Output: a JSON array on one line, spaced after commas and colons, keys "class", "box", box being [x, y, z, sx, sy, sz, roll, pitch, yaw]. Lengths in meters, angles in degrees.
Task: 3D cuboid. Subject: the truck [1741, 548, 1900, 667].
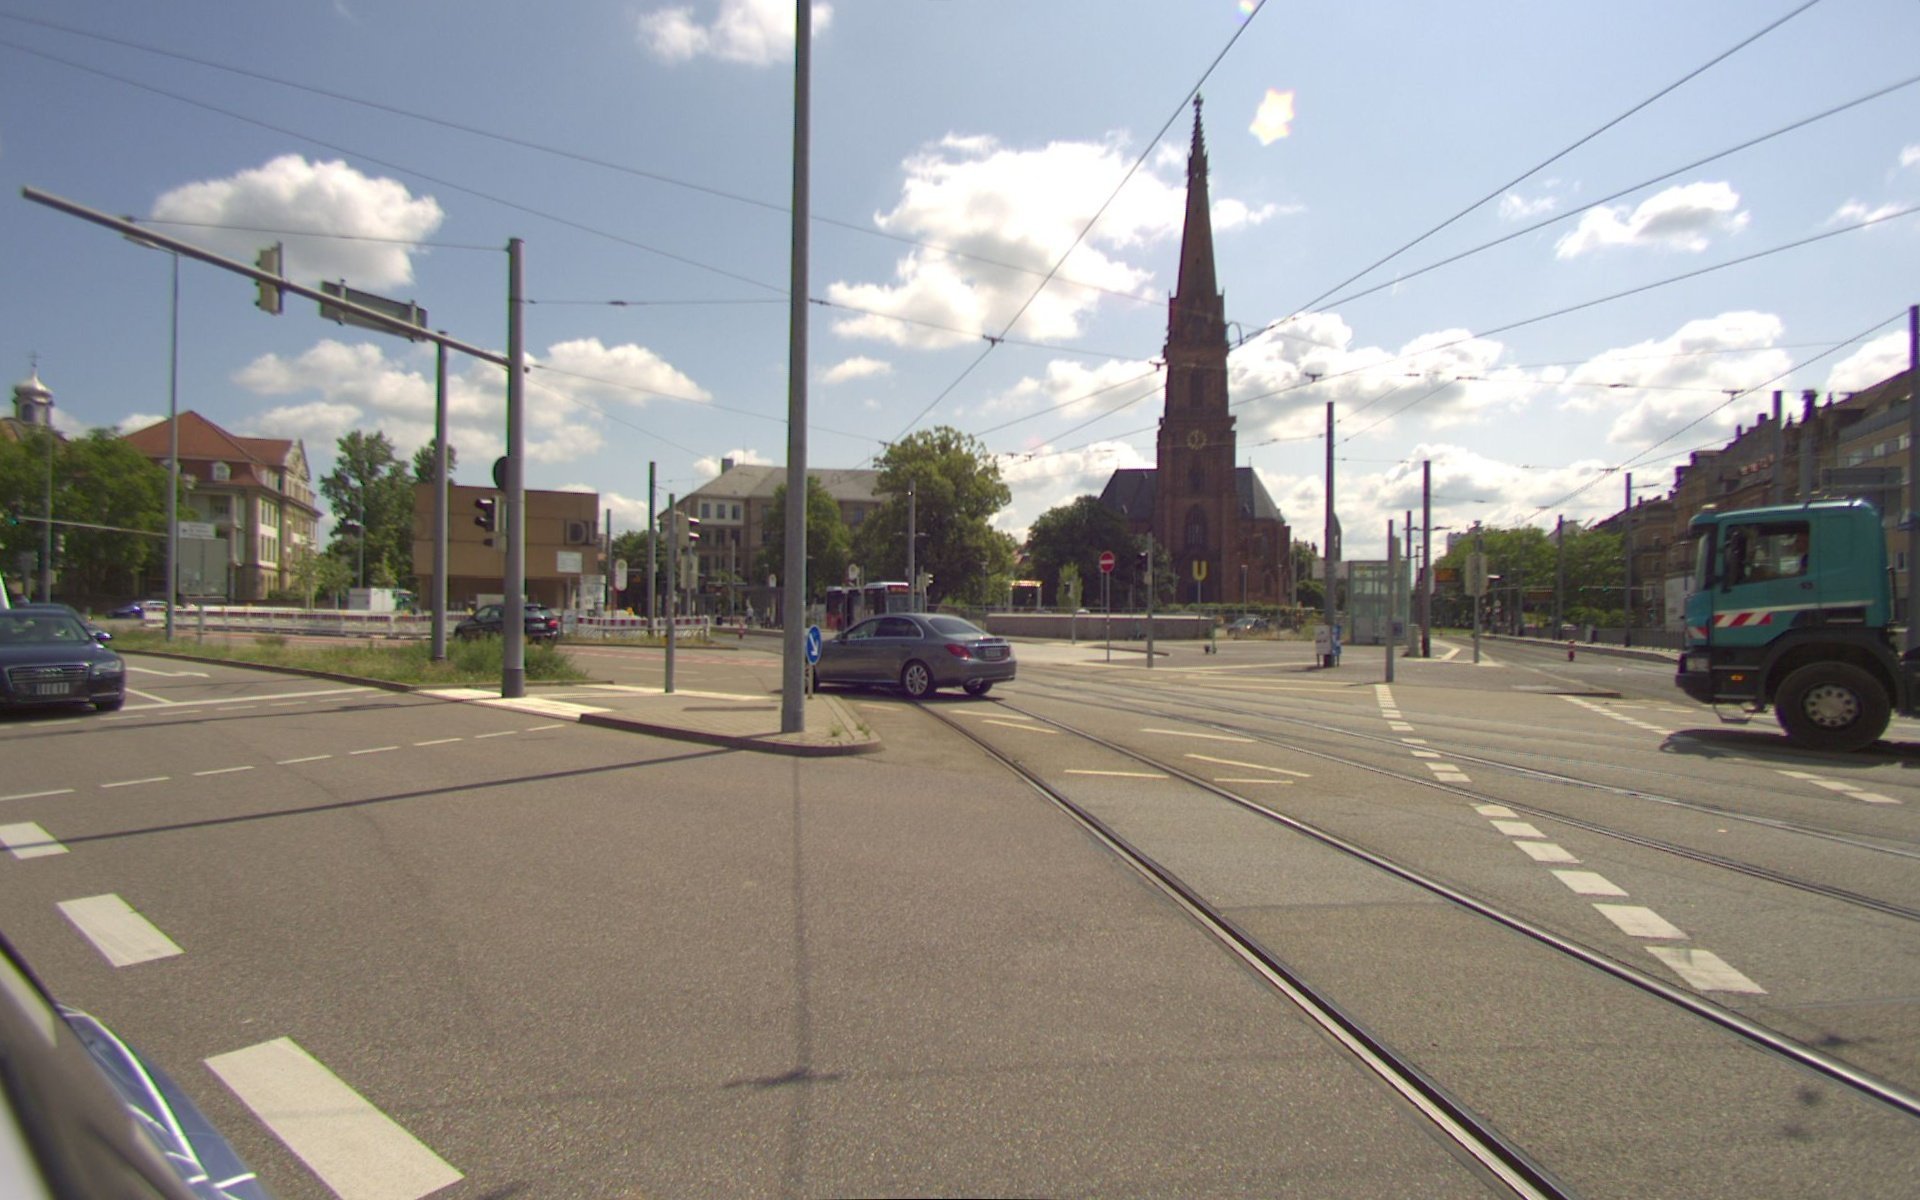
[{"class": "truck", "box": [31.295, 0.223, 37.080, 2.689, 3.999, 5.412, 1, 0, 21]}]

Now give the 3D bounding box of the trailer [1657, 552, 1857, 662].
[{"class": "trailer", "box": [33.864, 0.200, 43.862, 2.689, 3.999, 13.946, 1, 1, 21]}]

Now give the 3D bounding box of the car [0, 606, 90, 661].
[{"class": "car", "box": [-26.495, 0.898, 28.565, 4.506, 1.445, 1.733, 0, -1, 33]}]

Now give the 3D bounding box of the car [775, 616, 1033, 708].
[{"class": "car", "box": [-1.104, 1.009, 17.944, 4.772, 1.402, 1.636, 0, -1, 41]}]

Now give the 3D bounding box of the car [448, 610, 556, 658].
[{"class": "car", "box": [-15.021, 1.070, 33.132, 4.152, 1.480, 1.636, 0, -1, 41]}]

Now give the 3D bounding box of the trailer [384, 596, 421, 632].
[{"class": "trailer", "box": [-48.380, 1.167, 87.765, 1.968, 2.935, 4.374, 1, 1, -40]}]

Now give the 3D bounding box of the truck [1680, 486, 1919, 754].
[{"class": "truck", "box": [12.919, 0.226, 10.278, 2.852, 2.874, 8.797, 2, -2, -45]}]

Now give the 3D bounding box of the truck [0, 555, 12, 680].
[{"class": "truck", "box": [-23.176, 0.345, 22.769, 5.914, 2.660, 2.115, 1, 0, 41]}]

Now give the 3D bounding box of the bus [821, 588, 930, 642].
[{"class": "bus", "box": [-5.387, 0.775, 60.926, 2.550, 2.881, 12.308, 1, 1, -24]}]

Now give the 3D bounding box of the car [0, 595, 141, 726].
[{"class": "car", "box": [-13.673, 0.792, 14.661, 4.788, 1.654, 1.909, 0, -1, 40]}]

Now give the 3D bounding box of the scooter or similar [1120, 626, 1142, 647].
[{"class": "scooter or similar", "box": [9.126, 1.935, 53.983, 1.111, 1.098, 0.243, 1, 0, -14]}]
